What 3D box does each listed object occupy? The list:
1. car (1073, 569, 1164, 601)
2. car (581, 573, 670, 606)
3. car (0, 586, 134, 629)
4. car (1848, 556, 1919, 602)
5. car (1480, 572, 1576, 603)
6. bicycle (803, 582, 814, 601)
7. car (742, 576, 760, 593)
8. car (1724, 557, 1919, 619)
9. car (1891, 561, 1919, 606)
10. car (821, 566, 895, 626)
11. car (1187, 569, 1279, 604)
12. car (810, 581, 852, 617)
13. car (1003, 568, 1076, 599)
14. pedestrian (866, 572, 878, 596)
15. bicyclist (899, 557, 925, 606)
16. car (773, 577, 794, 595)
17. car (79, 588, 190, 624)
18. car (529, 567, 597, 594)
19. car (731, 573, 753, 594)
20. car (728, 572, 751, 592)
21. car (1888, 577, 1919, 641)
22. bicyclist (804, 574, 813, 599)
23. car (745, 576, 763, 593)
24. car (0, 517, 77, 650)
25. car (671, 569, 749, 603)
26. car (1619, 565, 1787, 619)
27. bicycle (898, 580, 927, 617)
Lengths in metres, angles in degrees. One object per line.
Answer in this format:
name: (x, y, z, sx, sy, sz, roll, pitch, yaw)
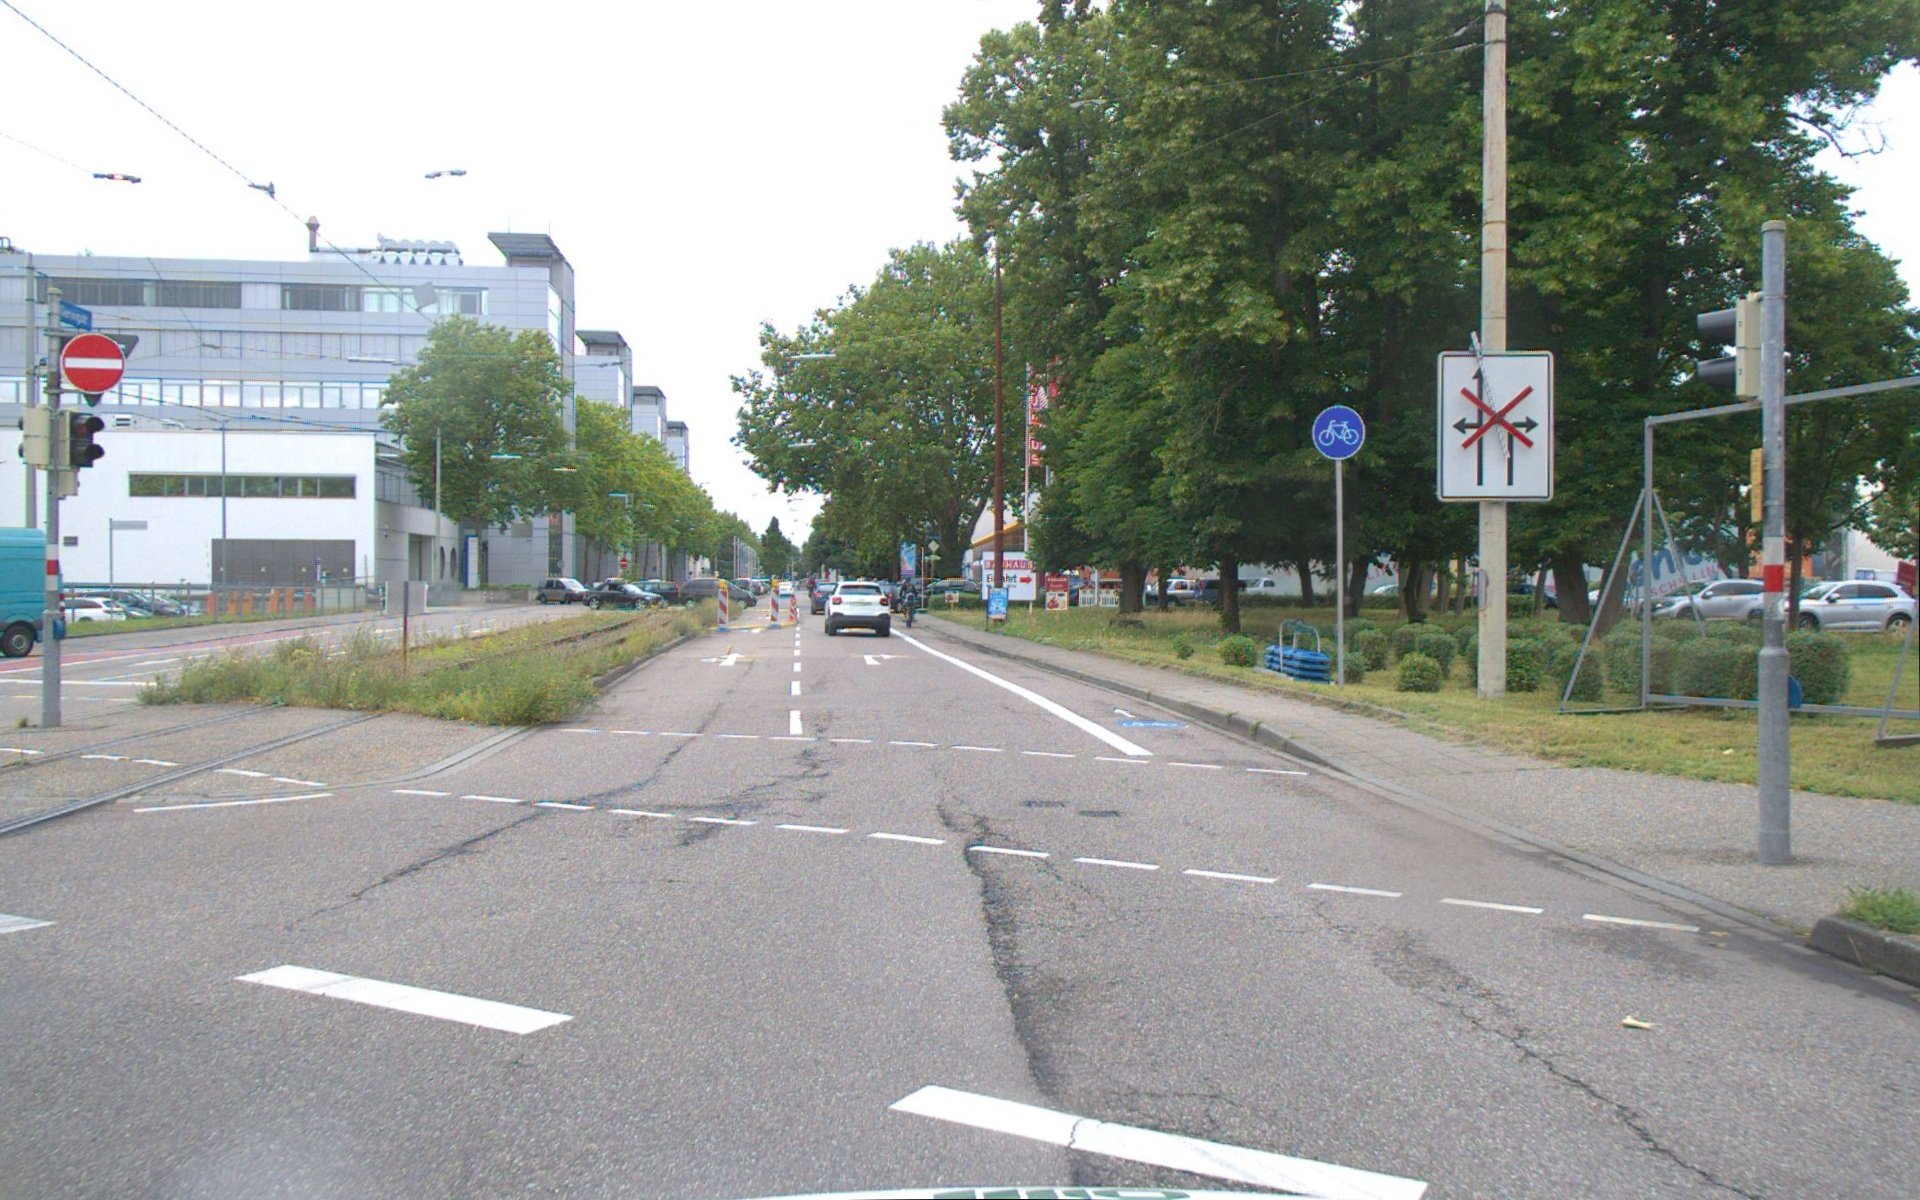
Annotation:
car: (8.296, -0.793, 86.843, 4.465, 1.599, 1.990, 0, 1, -6)
car: (-16.985, -0.520, 83.933, 4.029, 1.501, 1.826, -1, -1, 17)
car: (-35.781, 0.294, 66.231, 4.442, 1.662, 1.909, 0, 1, -9)
car: (53.107, -1.183, 92.761, 5.632, 2.581, 2.071, 0, 0, -6)
car: (30.606, -0.686, 89.212, 4.465, 1.599, 2.071, 0, 1, -6)
bicycle: (-11.407, -0.634, 124.493, 0.658, 1.418, 2.163, 1, 1, -9)
car: (-21.906, -1.632, 173.447, 1.841, 1.794, 3.994, -1, 1, -7)
car: (24.009, -0.320, 45.946, 4.586, 1.523, 2.167, 2, 0, -8)
car: (38.546, -0.642, 63.626, 4.471, 1.706, 2.150, 0, 1, -11)
car: (-2.981, -0.149, 47.648, 1.790, 1.628, 3.769, 1, 1, -9)
car: (14.515, -0.726, 88.059, 4.465, 1.821, 2.071, 0, 1, -6)
car: (-5.983, -0.075, 76.670, 1.653, 1.540, 3.699, 1, 1, -9)
car: (4.526, -0.948, 94.679, 4.125, 1.706, 1.993, 0, 1, 2)
pedestrian: (-6.362, -1.136, 119.161, 0.747, 1.734, 0.680, -1, 1, -11)
bicyclist: (-1.644, -0.623, 56.830, 0.801, 1.658, 1.233, 0, 0, -6)
car: (-16.516, -1.321, 154.636, 1.762, 1.540, 3.699, 1, 1, -9)
car: (-36.197, 0.236, 72.615, 3.913, 1.511, 1.909, 0, 1, -9)
car: (-27.191, -1.306, 113.300, 4.323, 1.814, 1.824, 0, 1, 24)
car: (-19.119, -1.472, 145.216, 1.841, 1.794, 3.994, -1, 1, -7)
car: (-18.604, -1.554, 139.427, 1.841, 1.661, 3.994, -1, 1, -7)
car: (24.904, 0.281, 39.685, 4.363, 1.523, 1.927, 2, 0, -11)
bicyclist: (-11.403, -1.036, 124.516, 0.658, 1.847, 0.758, 1, 1, -9)
car: (-22.248, -1.724, 178.648, 1.841, 1.794, 3.994, -1, 1, -7)
car: (-22.168, -0.346, 35.030, 2.282, 2.875, 5.945, 0, 1, 25)
car: (-12.831, -0.710, 85.093, 3.809, 1.583, 1.823, 2, 0, -7)
car: (23.154, -0.238, 51.587, 4.448, 1.523, 1.955, 2, 0, -10)
bicycle: (-1.639, -0.080, 56.837, 0.801, 1.234, 2.680, 0, 1, -6)
